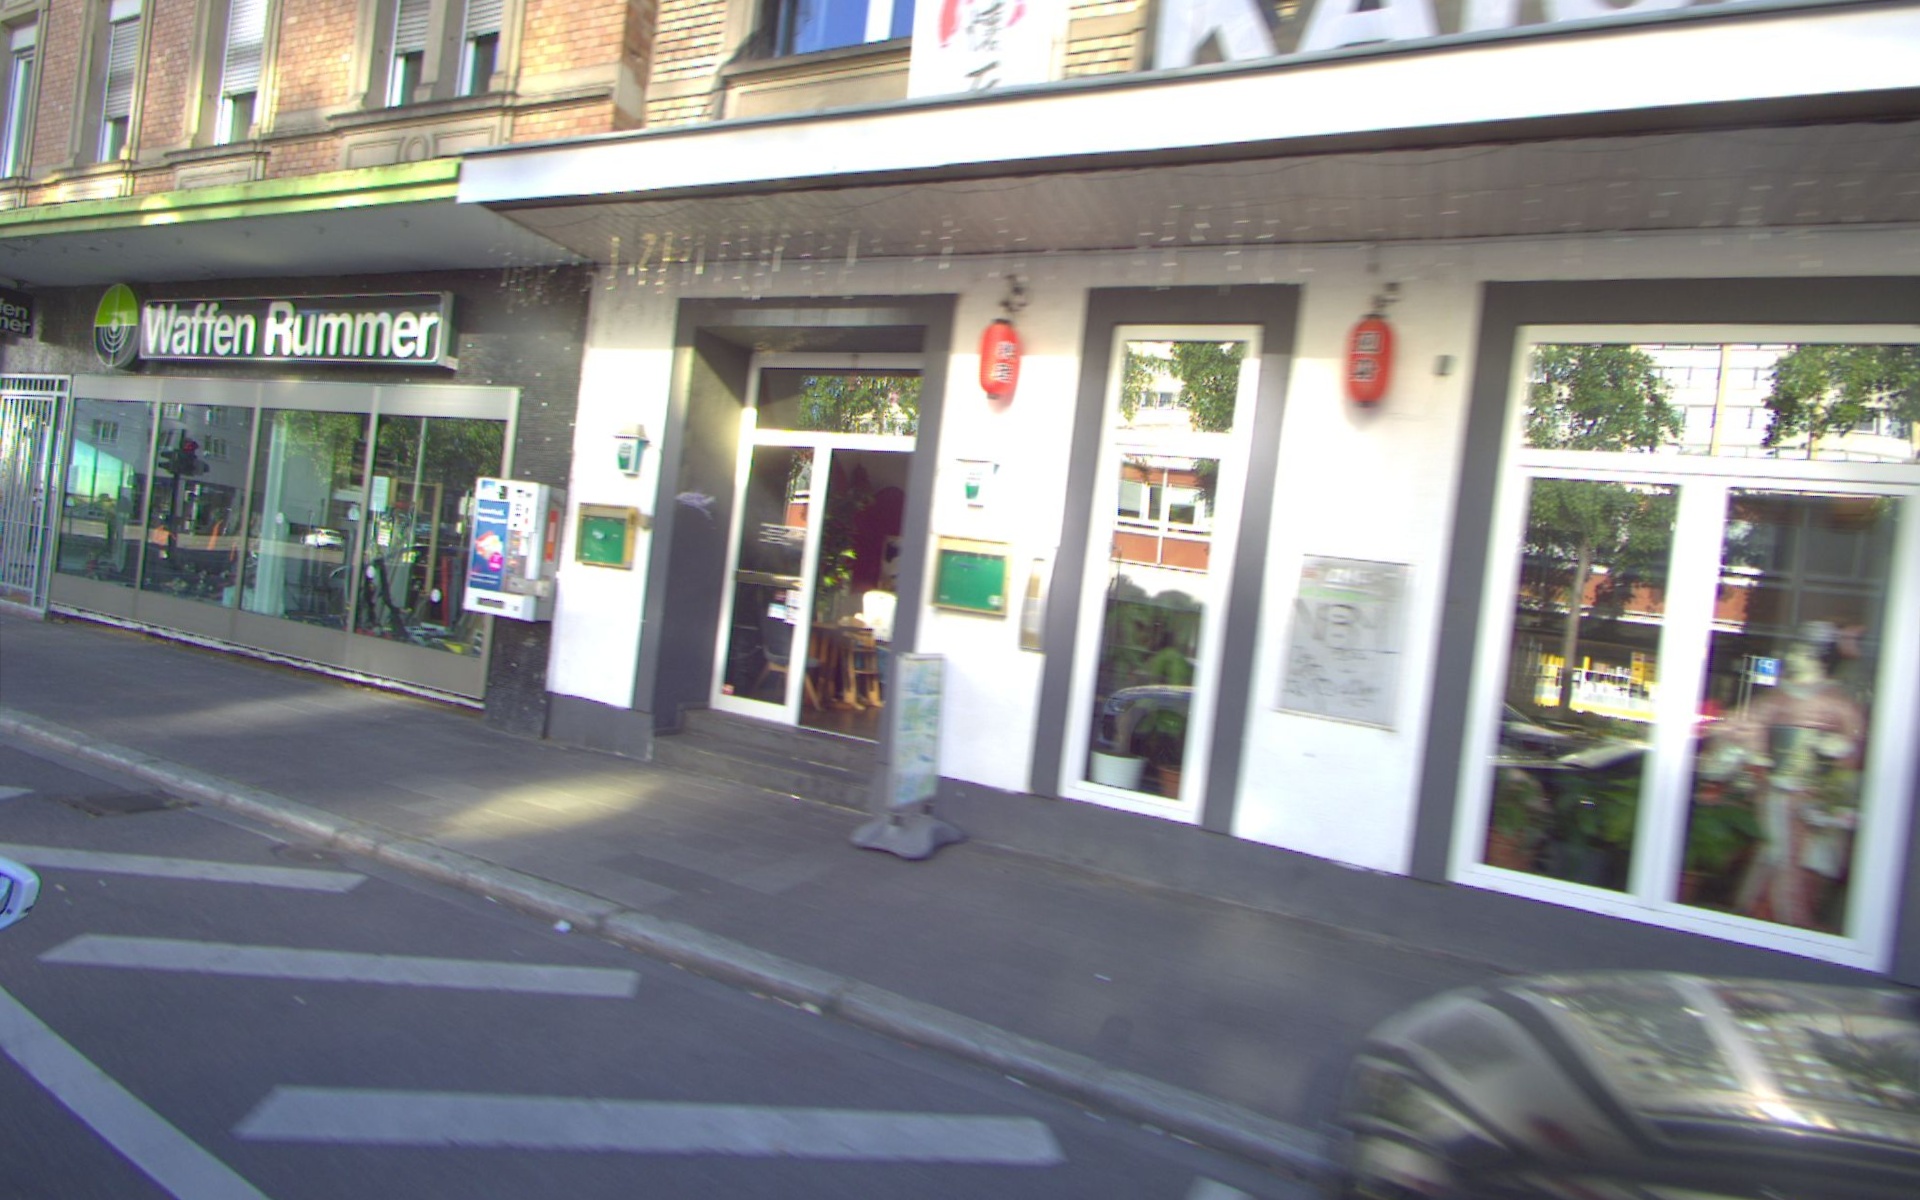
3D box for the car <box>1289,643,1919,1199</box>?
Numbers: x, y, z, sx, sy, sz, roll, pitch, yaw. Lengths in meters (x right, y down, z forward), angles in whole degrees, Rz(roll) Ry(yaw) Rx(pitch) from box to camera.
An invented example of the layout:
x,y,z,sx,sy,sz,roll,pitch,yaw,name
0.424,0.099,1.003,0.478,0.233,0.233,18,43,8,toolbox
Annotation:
x,y,z,sx,sy,sz,roll,pitch,yaw,name
2.658,1.102,1.059,4.282,1.467,1.696,7,-2,26,car
